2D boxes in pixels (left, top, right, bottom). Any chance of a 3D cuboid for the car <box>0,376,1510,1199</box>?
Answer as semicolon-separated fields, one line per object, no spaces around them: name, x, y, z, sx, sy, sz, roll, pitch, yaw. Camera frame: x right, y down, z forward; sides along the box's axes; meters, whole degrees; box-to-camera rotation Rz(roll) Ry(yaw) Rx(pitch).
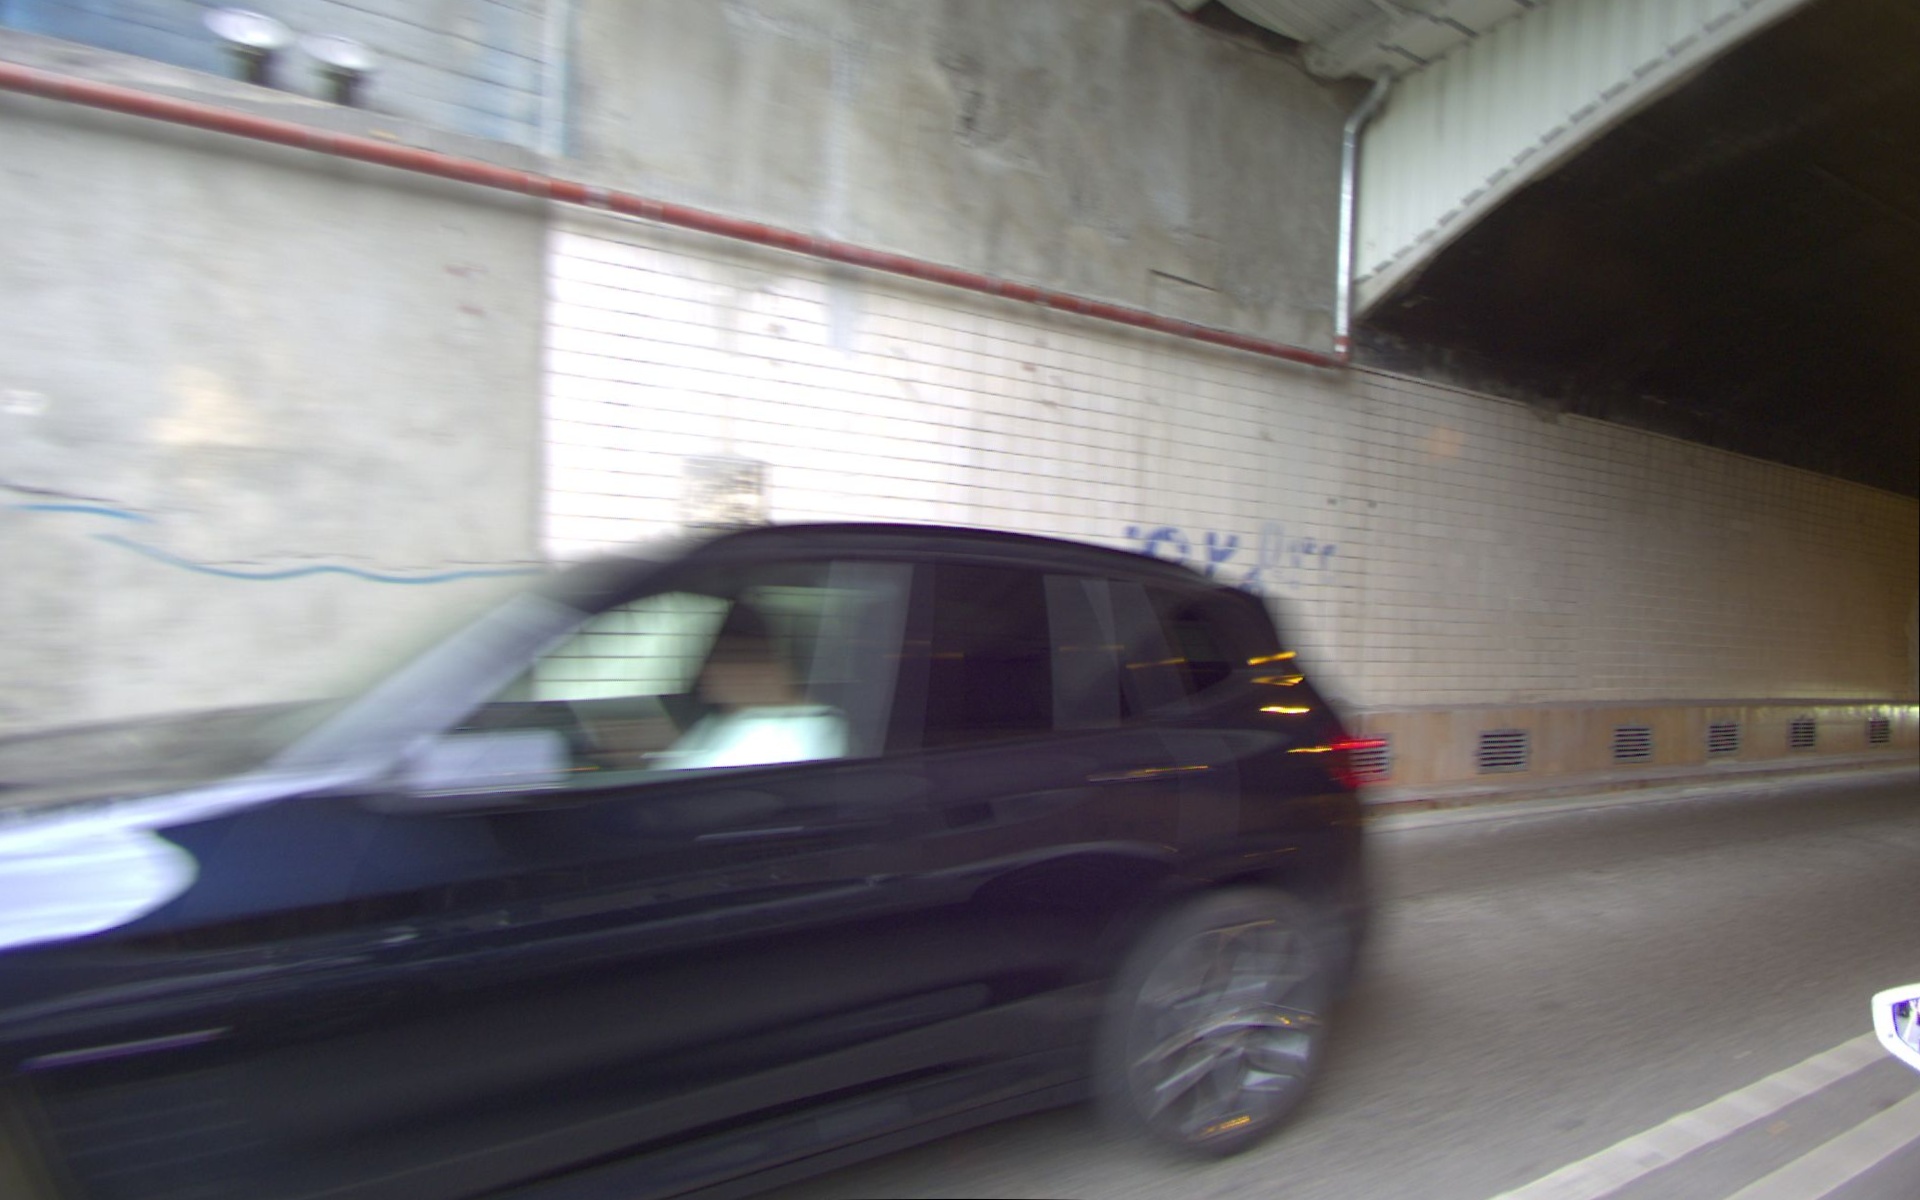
car;-0.597;0.600;2.888;4.326;1.698;1.870;2;-2;-30
